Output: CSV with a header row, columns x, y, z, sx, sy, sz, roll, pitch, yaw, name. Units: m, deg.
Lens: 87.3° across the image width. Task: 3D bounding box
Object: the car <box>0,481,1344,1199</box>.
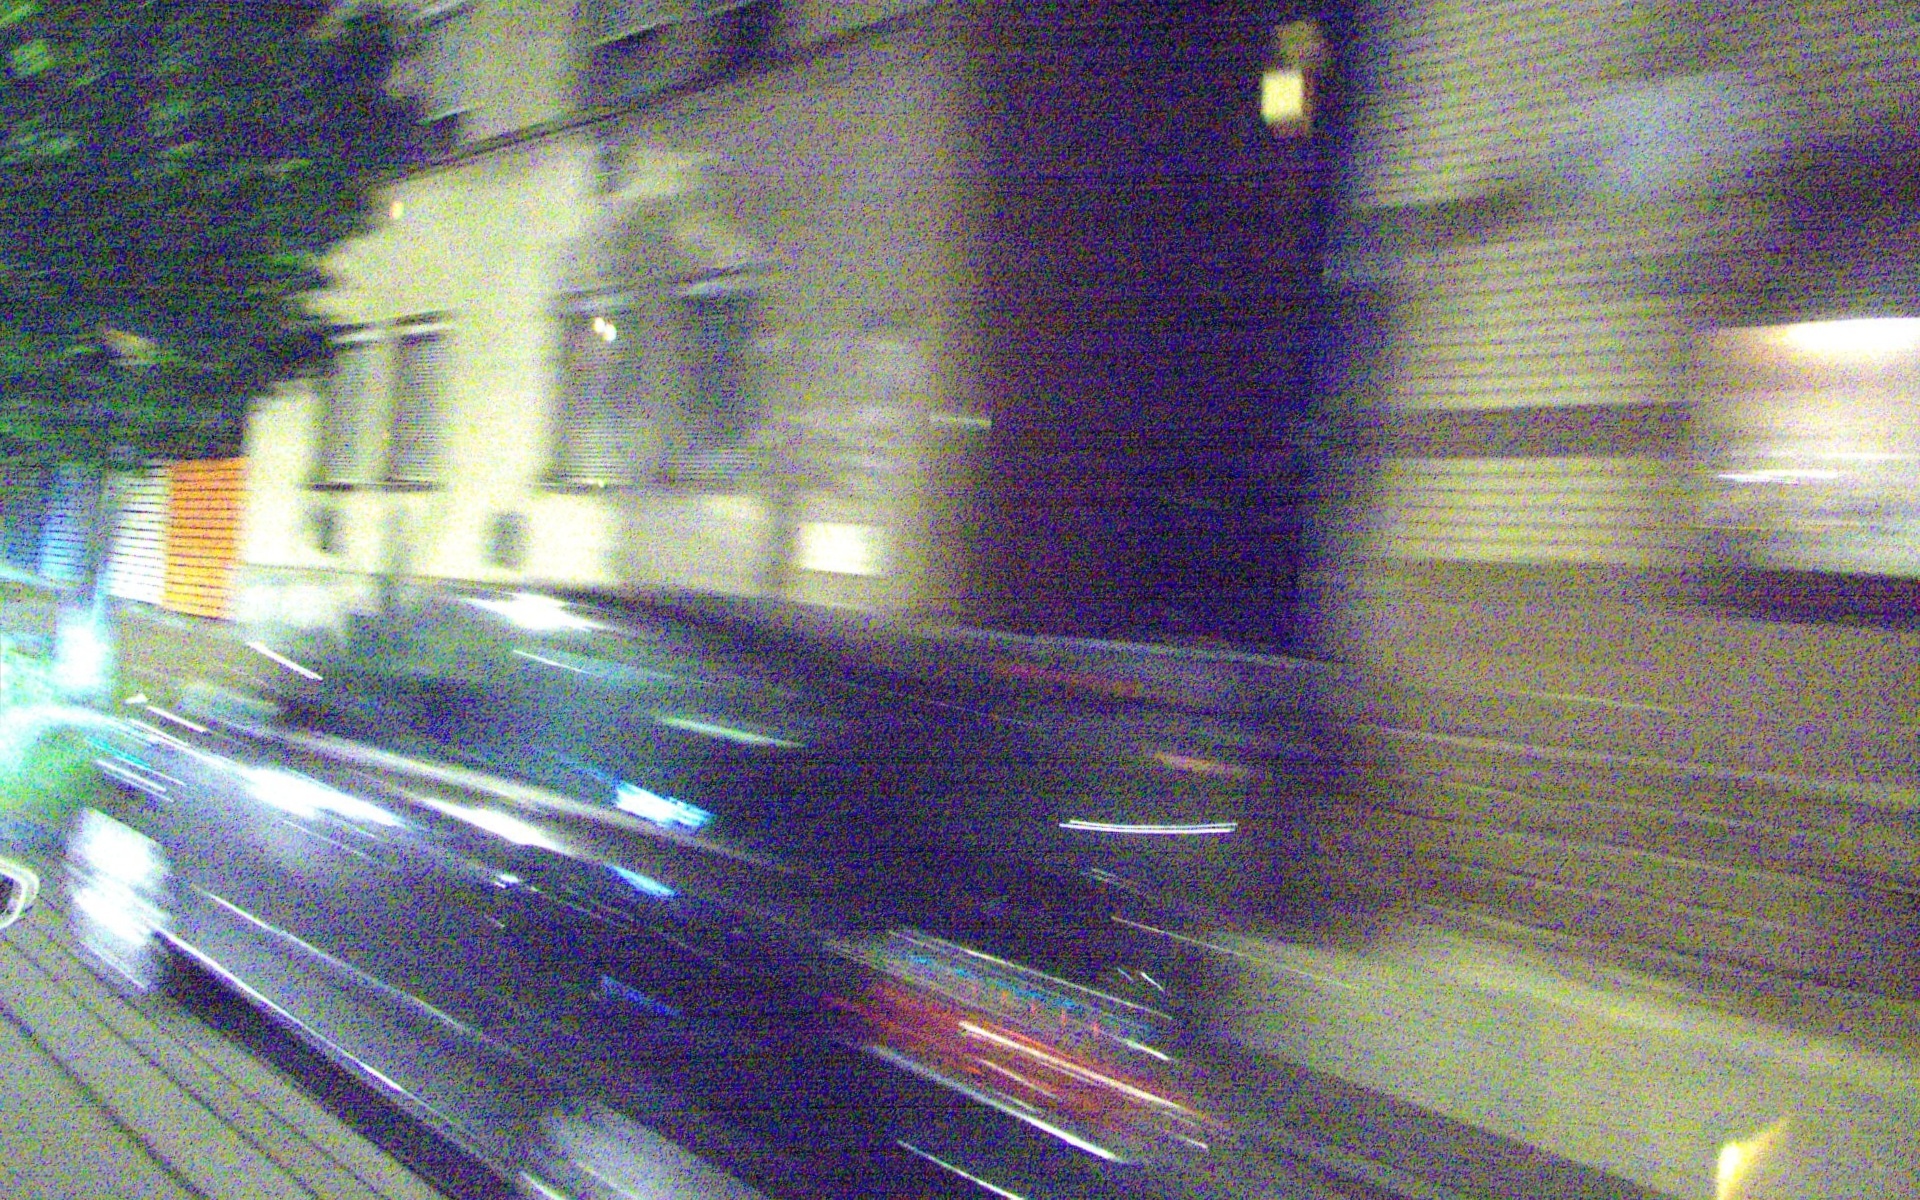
x,y,z,sx,sy,sz,roll,pitch,yaw,name
-1.161,0.601,3.123,4.012,1.495,1.764,7,1,32,car
